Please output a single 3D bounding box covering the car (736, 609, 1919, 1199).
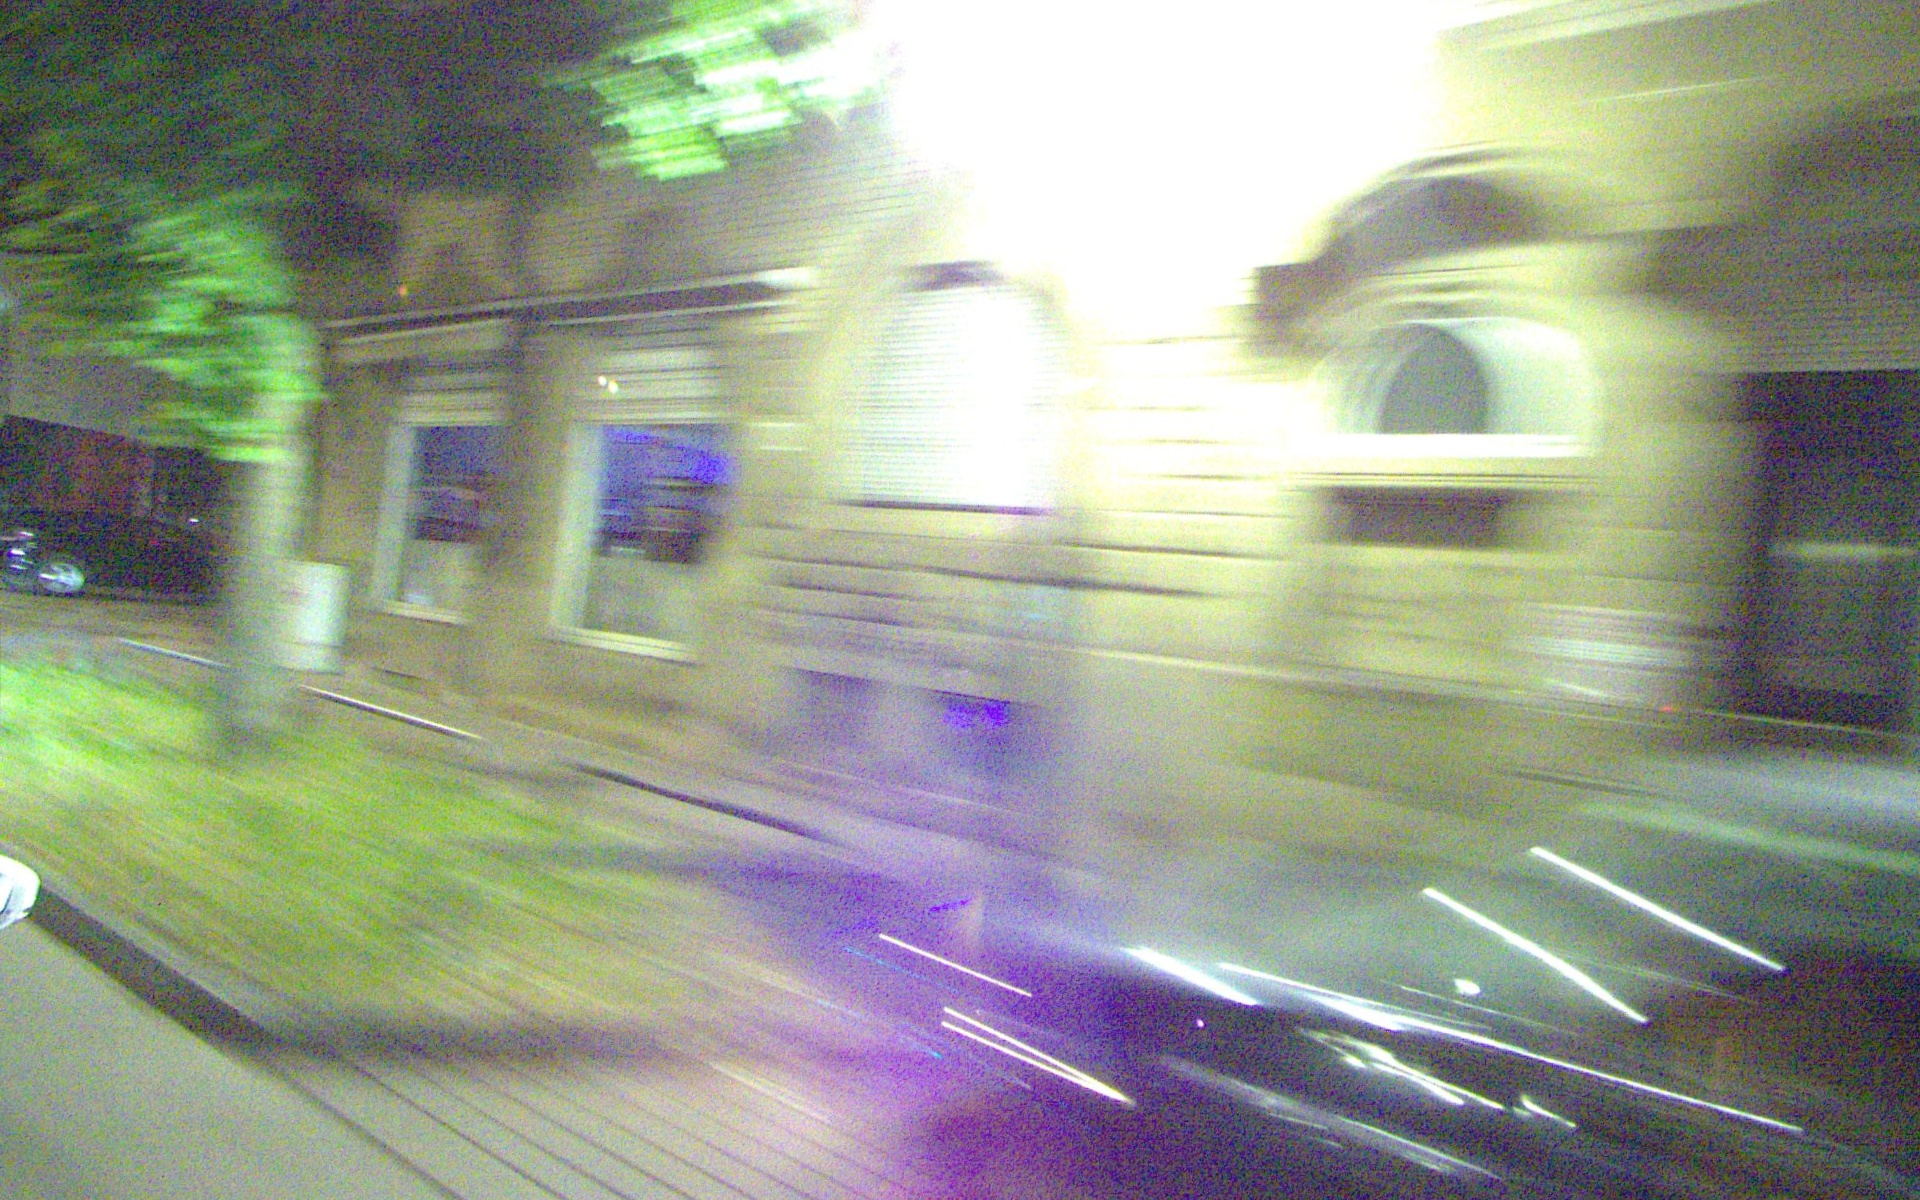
[{"bbox_3d":[1.670,1.009,1.883,3.935,1.471,1.739,6,-1,33],"label":"car"}]

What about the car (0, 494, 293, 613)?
[{"bbox_3d":[-13.968,-0.729,16.993,1.821,1.438,4.024,5,-3,29],"label":"car"}]

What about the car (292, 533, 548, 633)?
[{"bbox_3d":[-10.842,-0.281,20.530,1.820,1.485,4.202,7,-1,27],"label":"car"}]
